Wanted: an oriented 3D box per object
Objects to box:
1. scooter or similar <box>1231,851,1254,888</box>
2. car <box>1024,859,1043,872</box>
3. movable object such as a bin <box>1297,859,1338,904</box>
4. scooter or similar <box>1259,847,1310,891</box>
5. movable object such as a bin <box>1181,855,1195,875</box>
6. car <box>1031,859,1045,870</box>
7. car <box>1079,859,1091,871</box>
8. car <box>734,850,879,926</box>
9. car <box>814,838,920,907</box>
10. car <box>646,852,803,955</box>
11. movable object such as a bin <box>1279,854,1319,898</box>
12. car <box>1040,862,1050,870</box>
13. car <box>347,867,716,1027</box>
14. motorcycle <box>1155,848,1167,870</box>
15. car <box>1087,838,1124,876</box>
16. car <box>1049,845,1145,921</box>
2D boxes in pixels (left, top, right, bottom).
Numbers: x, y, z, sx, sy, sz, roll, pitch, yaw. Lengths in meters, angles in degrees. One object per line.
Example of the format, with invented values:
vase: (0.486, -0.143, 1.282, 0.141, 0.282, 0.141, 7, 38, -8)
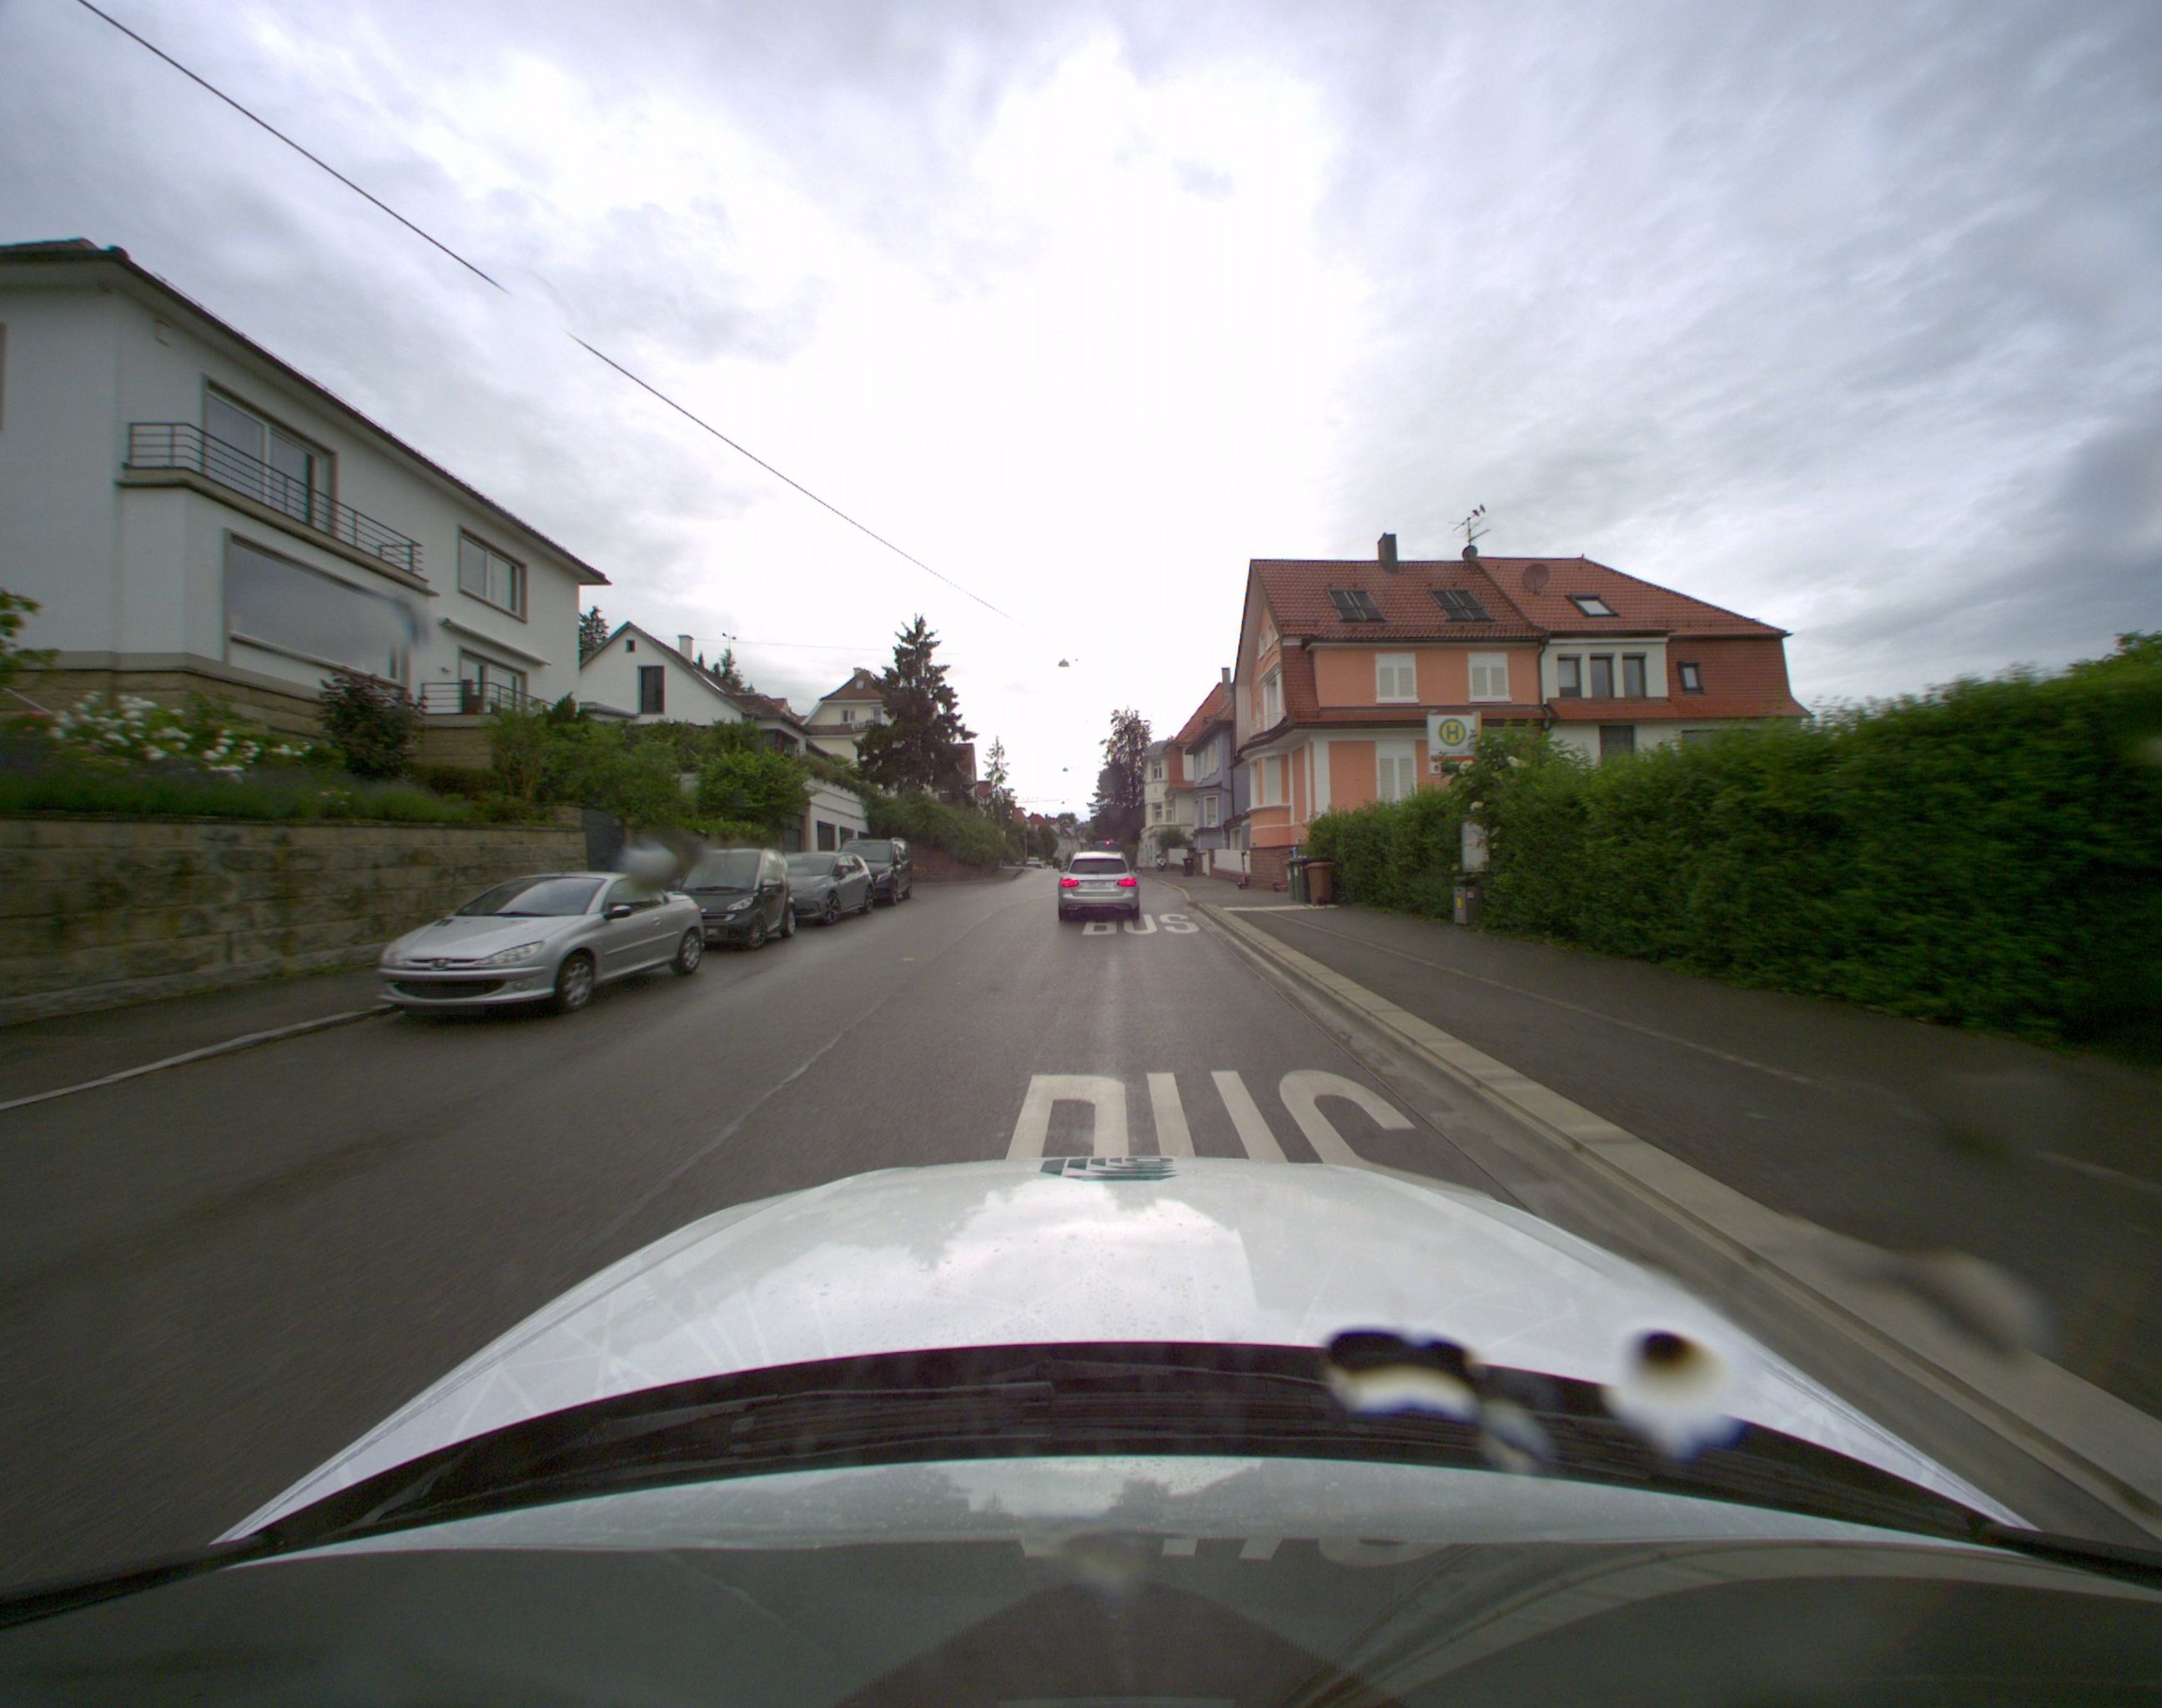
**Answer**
scooter or similar: (5.538, 0.503, 27.965, 0.689, 1.224, 1.302, -1, 0, 7)
car: (-5.711, 1.364, 97.970, 2.111, 1.471, 4.014, -1, 0, -2)
movable object such as a bin: (5.238, 0.601, 18.057, 0.573, 0.969, 0.663, 0, 0, -33)
scooter or similar: (6.049, 0.447, 24.235, 1.245, 1.224, 0.699, -4, -1, 32)
movable object such as a bin: (5.187, 0.541, 39.636, 0.547, 0.936, 0.633, -4, 0, -1)
car: (-5.961, 1.451, 112.467, 1.753, 1.314, 3.681, -2, 1, -2)
car: (0.947, 2.426, 182.197, 2.456, 2.400, 4.003, -4, 0, 3)
car: (-6.104, 0.685, 18.714, 1.892, 1.515, 4.341, 0, 0, -1)
car: (-6.274, 0.477, 24.604, 2.125, 1.860, 5.585, 0, 0, -4)
car: (-5.948, 0.743, 13.947, 1.494, 1.524, 3.154, -1, 1, -5)
movable object such as a bin: (5.351, 0.523, 20.009, 0.709, 1.030, 0.757, -3, 0, -2)
car: (-6.392, 2.070, 144.417, 1.632, 1.314, 3.473, -2, 1, -2)
car: (-5.803, 0.868, 9.248, 1.605, 1.337, 3.840, 0, 1, -1)
motorcycle: (4.840, 0.283, 49.382, 0.579, 1.261, 2.333, -3, 0, 2)
car: (1.321, 0.118, 43.285, 1.817, 1.882, 4.097, -2, 1, 2)
car: (0.363, 0.578, 18.882, 1.976, 1.553, 4.298, 0, 0, 1)
